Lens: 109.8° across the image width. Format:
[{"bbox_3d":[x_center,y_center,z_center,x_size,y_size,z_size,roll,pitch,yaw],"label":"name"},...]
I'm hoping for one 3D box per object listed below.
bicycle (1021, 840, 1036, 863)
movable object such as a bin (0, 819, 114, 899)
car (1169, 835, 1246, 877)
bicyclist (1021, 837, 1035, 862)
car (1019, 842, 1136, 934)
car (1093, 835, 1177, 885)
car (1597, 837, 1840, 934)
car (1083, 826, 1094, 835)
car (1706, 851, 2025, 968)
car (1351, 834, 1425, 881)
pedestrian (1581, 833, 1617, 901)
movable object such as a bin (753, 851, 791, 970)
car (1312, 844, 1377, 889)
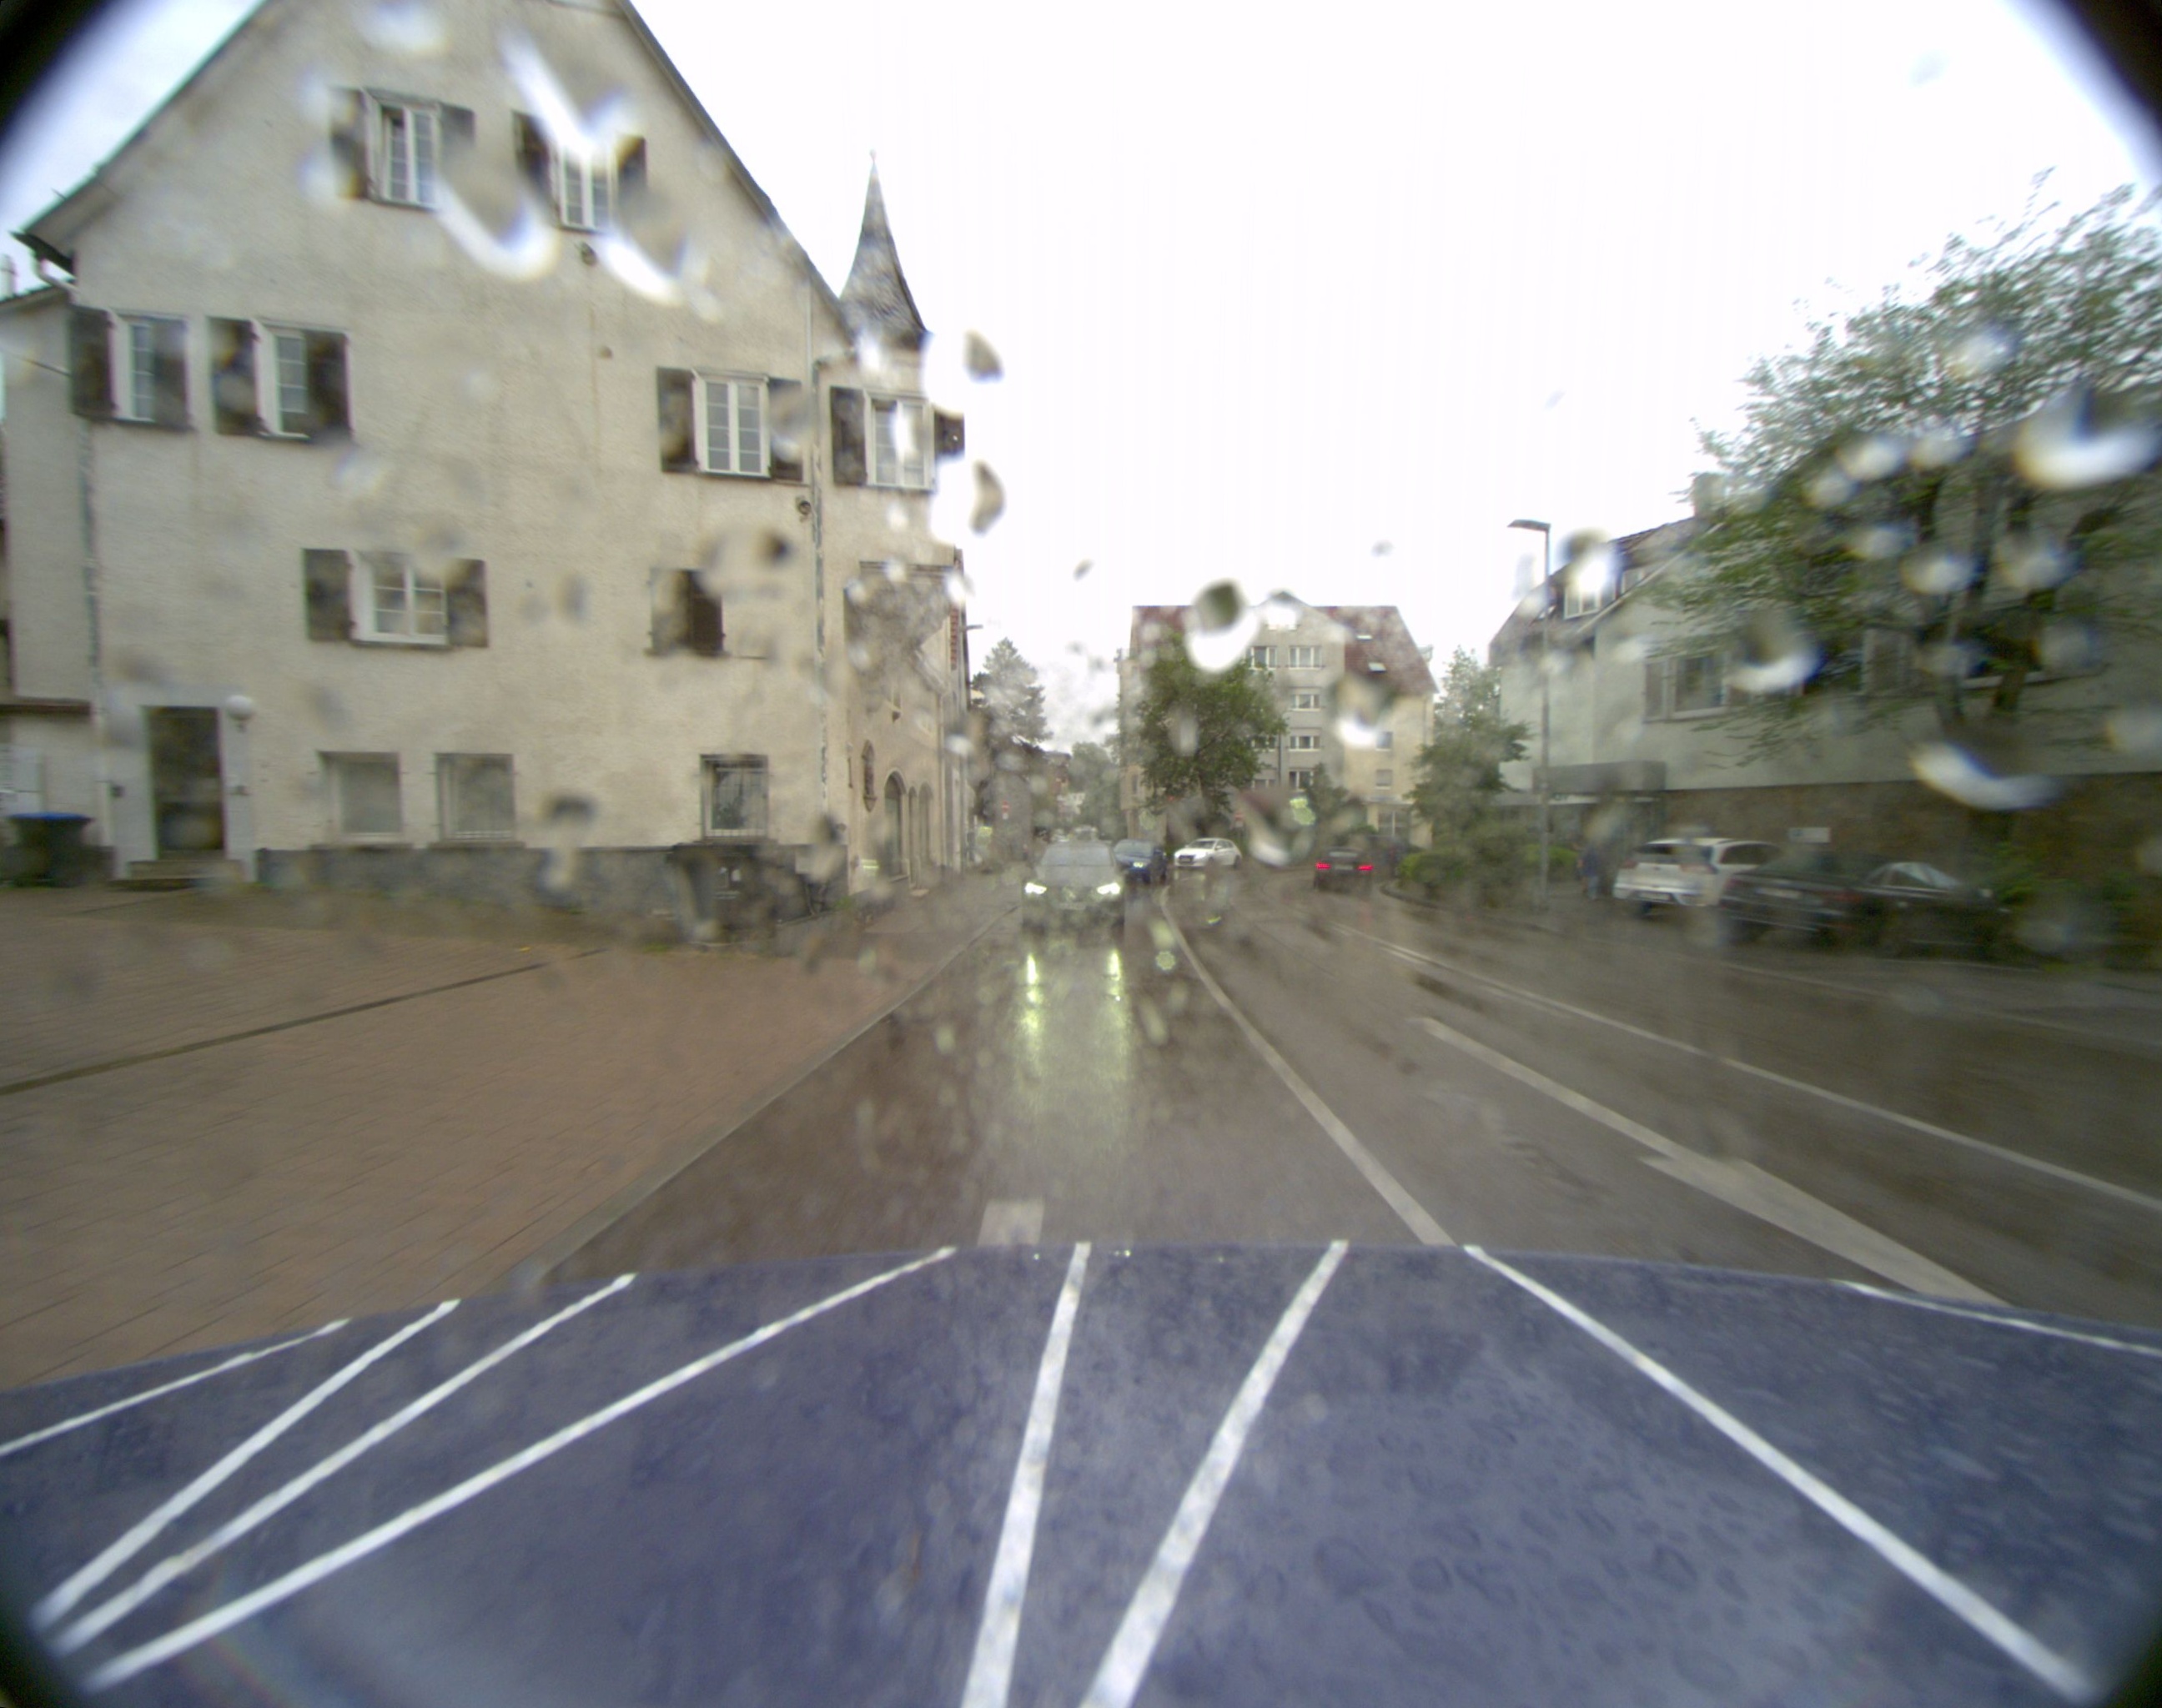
[{"bbox_3d":[-3.878,-0.171,55.791,0.764,1.031,2.073,8,17,-11],"label":"bicycle"},{"bbox_3d":[-12.809,0.051,9.468,0.658,0.917,0.592,3,6,-7],"label":"movable object such as a bin"},{"bbox_3d":[6.041,0.045,36.101,1.808,1.558,4.006,6,8,39],"label":"car"},{"bbox_3d":[-3.909,-0.319,55.715,0.686,1.512,1.026,8,17,-12],"label":"bicyclist"},{"bbox_3d":[-0.119,0.548,15.123,1.999,1.485,4.311,0,2,-2],"label":"car"},{"bbox_3d":[1.958,0.122,26.203,1.771,1.524,4.383,1,2,19],"label":"car"},{"bbox_3d":[12.057,0.508,14.423,3.649,1.620,1.996,0,2,-22],"label":"car"},{"bbox_3d":[1.575,-4.618,151.298,1.998,1.564,4.001,1,0,3],"label":"car"},{"bbox_3d":[11.688,0.707,11.352,4.004,1.445,1.896,-1,0,-21],"label":"car"},{"bbox_3d":[13.887,0.224,34.209,1.994,1.870,4.389,-1,-4,37],"label":"car"},{"bbox_3d":[12.306,0.306,18.066,0.654,1.566,0.546,0,1,30],"label":"pedestrian"},{"bbox_3d":[-3.936,0.695,9.693,0.413,1.434,0.642,-1,5,-22],"label":"movable object such as a bin"},{"bbox_3d":[8.712,0.374,25.245,1.863,1.379,4.268,-1,0,18],"label":"car"}]
